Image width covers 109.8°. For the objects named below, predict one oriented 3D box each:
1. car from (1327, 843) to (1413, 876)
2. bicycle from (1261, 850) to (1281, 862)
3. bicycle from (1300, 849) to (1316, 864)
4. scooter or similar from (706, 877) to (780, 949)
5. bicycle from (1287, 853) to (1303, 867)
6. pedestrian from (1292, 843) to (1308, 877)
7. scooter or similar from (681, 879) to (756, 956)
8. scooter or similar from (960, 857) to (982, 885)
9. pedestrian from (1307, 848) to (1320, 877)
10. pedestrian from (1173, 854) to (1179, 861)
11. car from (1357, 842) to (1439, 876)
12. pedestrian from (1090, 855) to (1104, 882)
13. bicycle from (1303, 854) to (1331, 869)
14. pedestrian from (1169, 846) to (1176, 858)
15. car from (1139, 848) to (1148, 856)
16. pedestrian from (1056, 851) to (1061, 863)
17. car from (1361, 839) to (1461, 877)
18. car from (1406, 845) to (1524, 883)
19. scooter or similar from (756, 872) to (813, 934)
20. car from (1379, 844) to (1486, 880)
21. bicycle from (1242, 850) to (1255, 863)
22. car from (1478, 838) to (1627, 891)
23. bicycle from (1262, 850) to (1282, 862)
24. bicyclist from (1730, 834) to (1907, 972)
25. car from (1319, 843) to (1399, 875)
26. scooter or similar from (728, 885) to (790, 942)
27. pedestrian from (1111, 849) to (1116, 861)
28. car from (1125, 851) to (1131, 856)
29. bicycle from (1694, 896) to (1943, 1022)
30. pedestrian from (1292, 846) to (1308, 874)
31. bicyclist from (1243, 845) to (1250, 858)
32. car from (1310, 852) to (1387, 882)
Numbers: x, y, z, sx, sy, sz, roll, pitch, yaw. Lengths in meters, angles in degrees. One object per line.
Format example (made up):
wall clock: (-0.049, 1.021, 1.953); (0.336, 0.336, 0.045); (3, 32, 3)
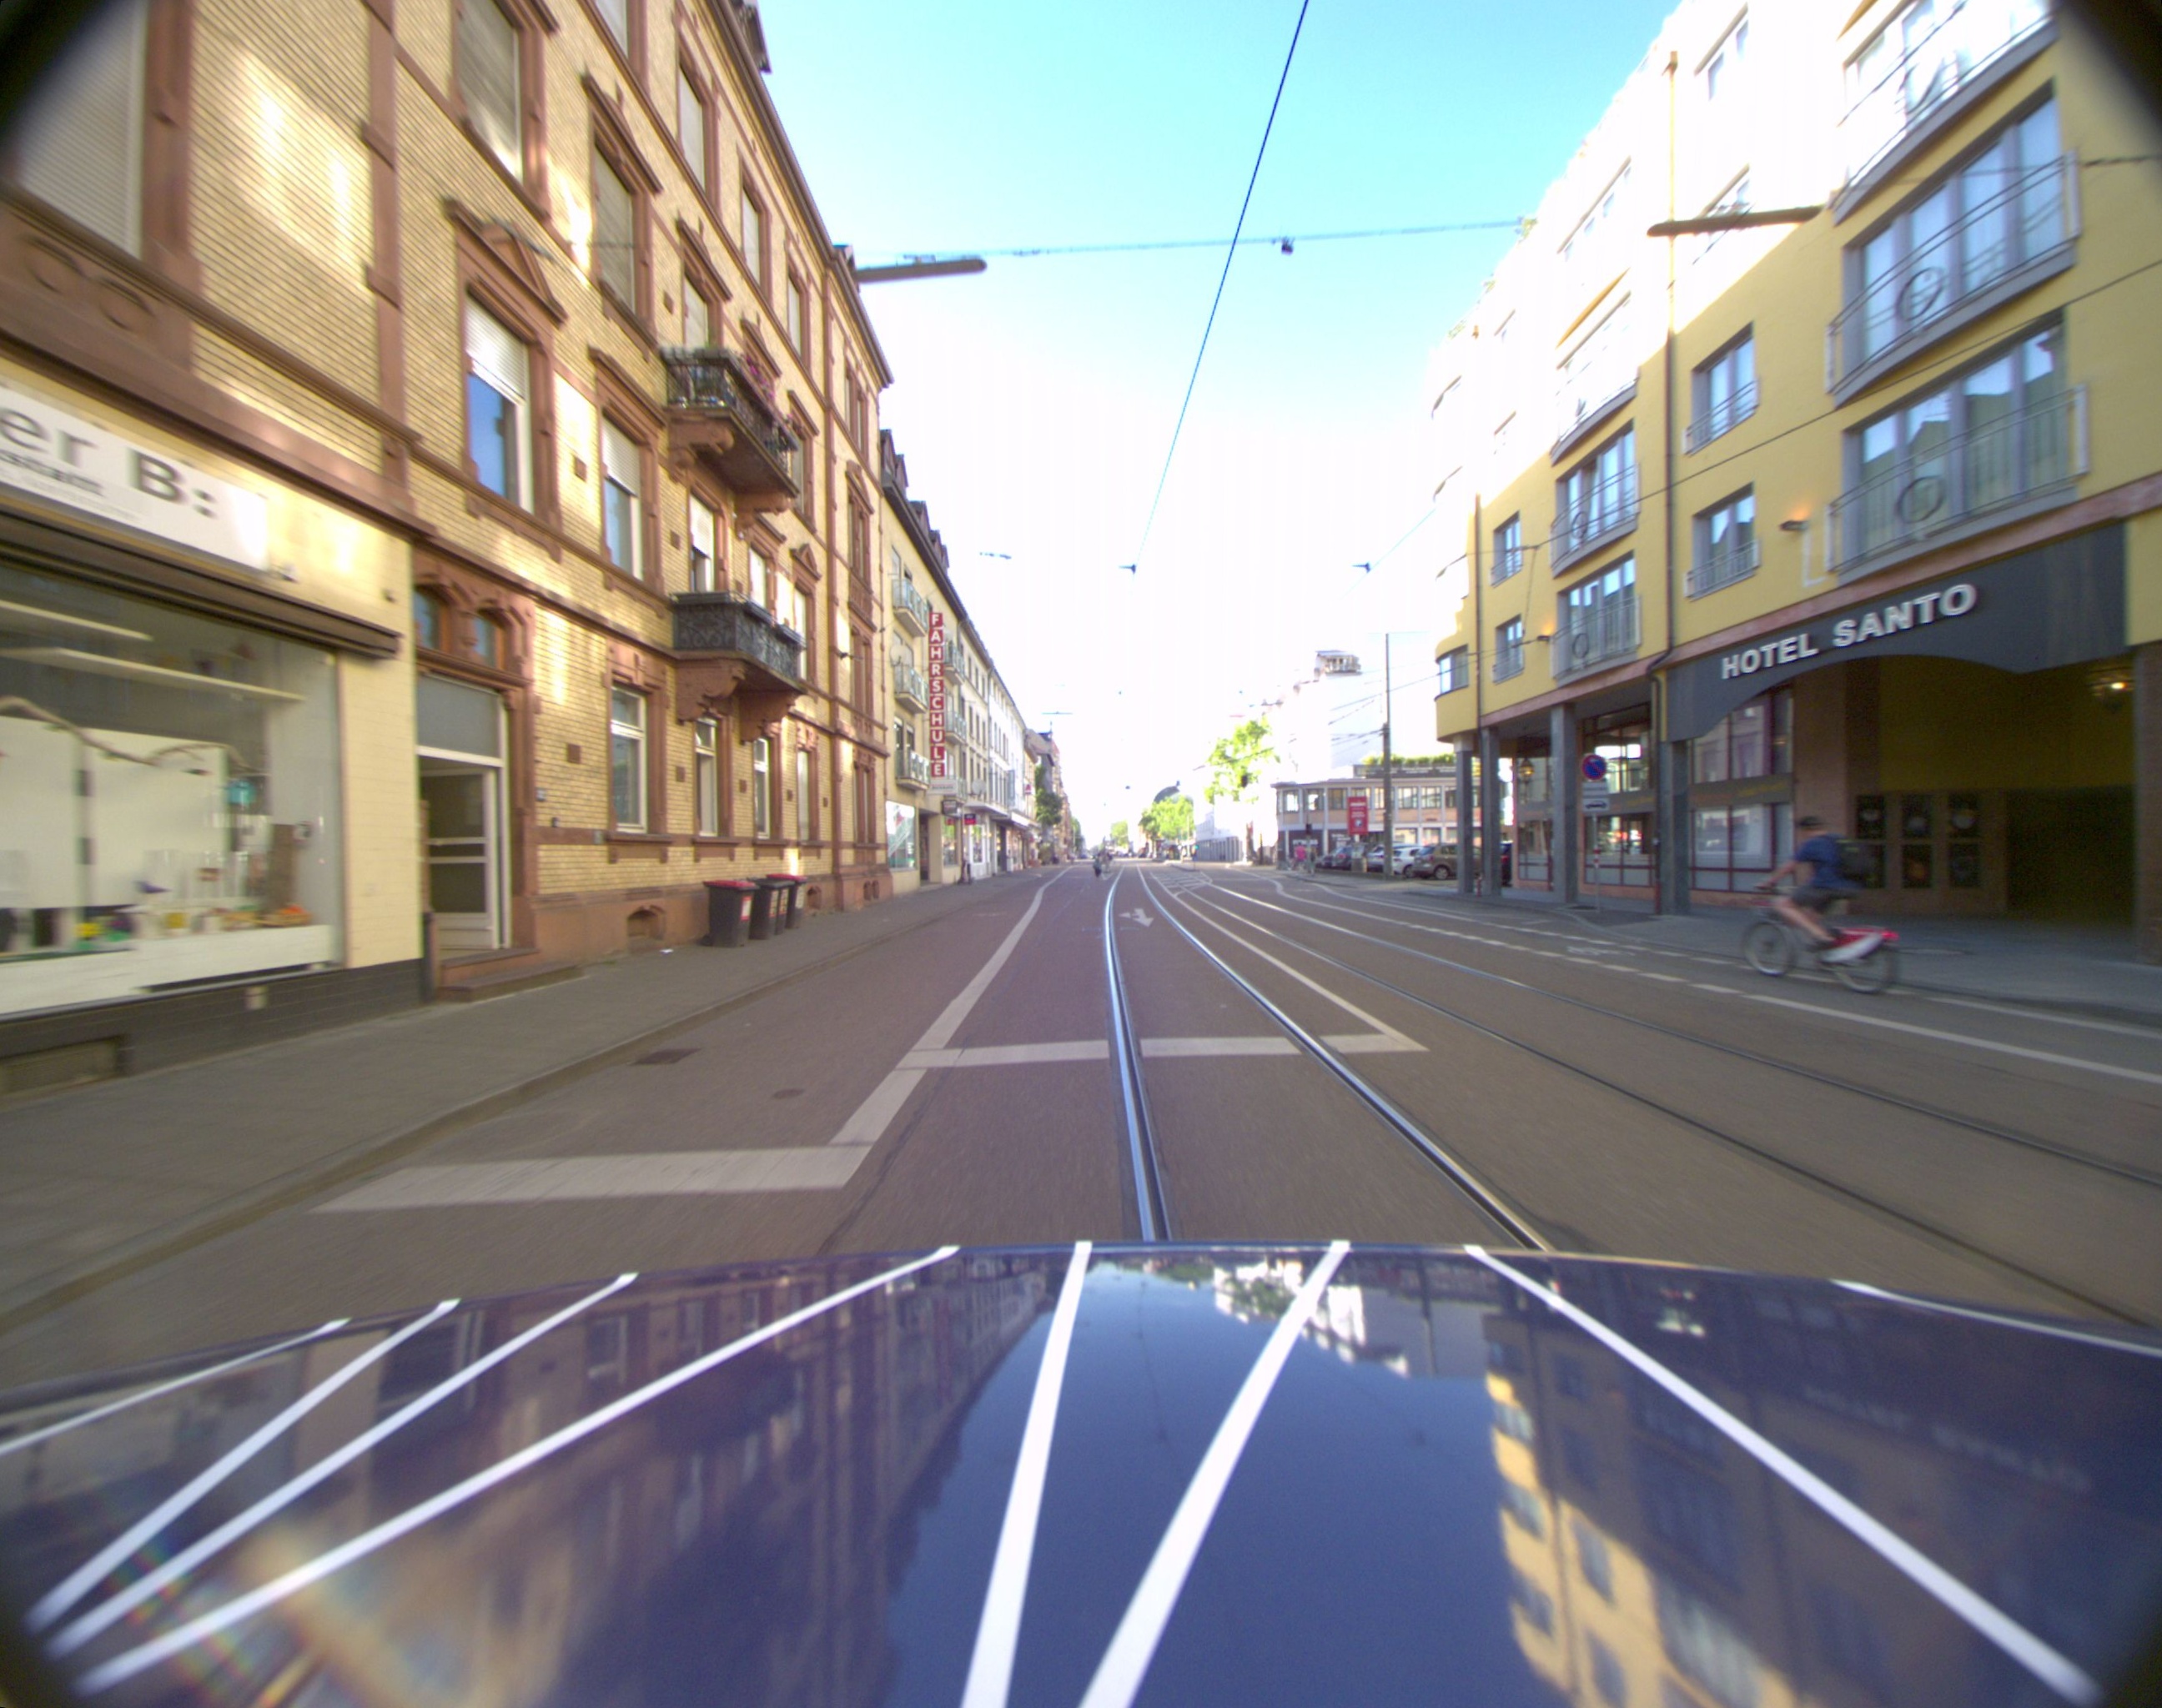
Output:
car: (16.604, 0.299, 43.778); (4.243, 1.801, 1.785); (-1, 1, 2)
bicycle: (18.842, 0.205, 75.266); (1.876, 1.071, 0.465); (-1, 1, 9)
bicycle: (16.715, 0.147, 56.001); (0.464, 1.073, 1.878); (-1, 0, -7)
scooter or similar: (-5.802, 1.007, 13.072); (0.935, 1.142, 0.650); (3, 1, -1)
bicycle: (15.901, 0.441, 56.500); (0.525, 1.030, 1.878); (-1, 0, -7)
pedestrian: (12.494, 0.336, 43.335); (0.639, 1.935, 0.709); (-1, 1, 0)
scooter or similar: (-5.809, 1.009, 12.207); (0.899, 1.142, 0.547); (3, 1, -1)
scooter or similar: (-5.217, 0.814, 35.966); (0.410, 1.274, 1.286); (6, 1, 17)
pedestrian: (13.218, 0.471, 43.261); (0.573, 1.608, 0.499); (-1, 1, 0)
pedestrian: (14.031, 0.466, 112.760); (0.794, 0.982, 0.747); (-1, 1, 1)
car: (17.151, 0.242, 41.238); (3.698, 1.663, 1.785); (-2, 1, 1)
pedestrian: (0.949, 0.838, 45.076); (0.780, 1.551, 0.650); (-1, 1, 2)
bicycle: (16.854, 0.546, 54.328); (1.875, 1.030, 0.426); (-1, 1, 26)
pedestrian: (13.063, -0.302, 108.506); (0.794, 1.635, 0.747); (-2, 1, 2)
car: (17.323, -0.610, 210.037); (1.884, 2.001, 4.000); (-3, -1, -1)
pedestrian: (-3.122, 0.438, 104.715); (0.695, 1.680, 0.688); (-1, 1, 1)
car: (16.615, 0.164, 38.357); (4.244, 1.802, 1.784); (0, 3, 1)
car: (16.813, 0.423, 33.407); (4.244, 1.540, 1.784); (0, 3, 1)
scooter or similar: (-5.883, 0.967, 15.113); (0.792, 1.142, 0.790); (3, 1, -1)
car: (16.618, 0.352, 36.105); (4.244, 1.600, 1.785); (-1, 1, 1)
bicycle: (19.440, 0.327, 88.373); (0.564, 1.117, 2.005); (-15, 1, 33)
car: (16.968, 0.363, 27.501); (4.244, 1.801, 1.785); (-1, 1, 1)
bicycle: (18.798, 0.209, 74.673); (1.876, 1.071, 0.465); (-1, 1, 9)
bicyclist: (7.976, 0.489, 8.286); (0.726, 1.373, 1.227); (-1, 1, -1)
car: (16.923, 0.296, 46.376); (4.244, 1.801, 1.785); (-1, 1, 1)
scooter or similar: (-5.844, 1.066, 13.812); (0.792, 0.952, 0.680); (3, 1, -1)
pedestrian: (4.626, 0.167, 107.635); (0.716, 1.635, 0.400); (-1, 1, 3)
car: (15.866, -0.282, 255.897); (1.998, 1.608, 4.000); (-2, 0, 2)
bicycle: (7.989, 1.075, 8.400); (0.732, 1.082, 2.061); (-1, 0, -1)
pedestrian: (13.863, 0.349, 48.112); (0.715, 1.754, 0.779); (-1, 1, -7)
bicyclist: (19.257, -0.291, 88.294); (0.562, 1.355, 0.719); (2, 11, 32)
car: (17.119, 0.819, 48.770); (4.244, 1.753, 1.785); (-2, 1, 1)
